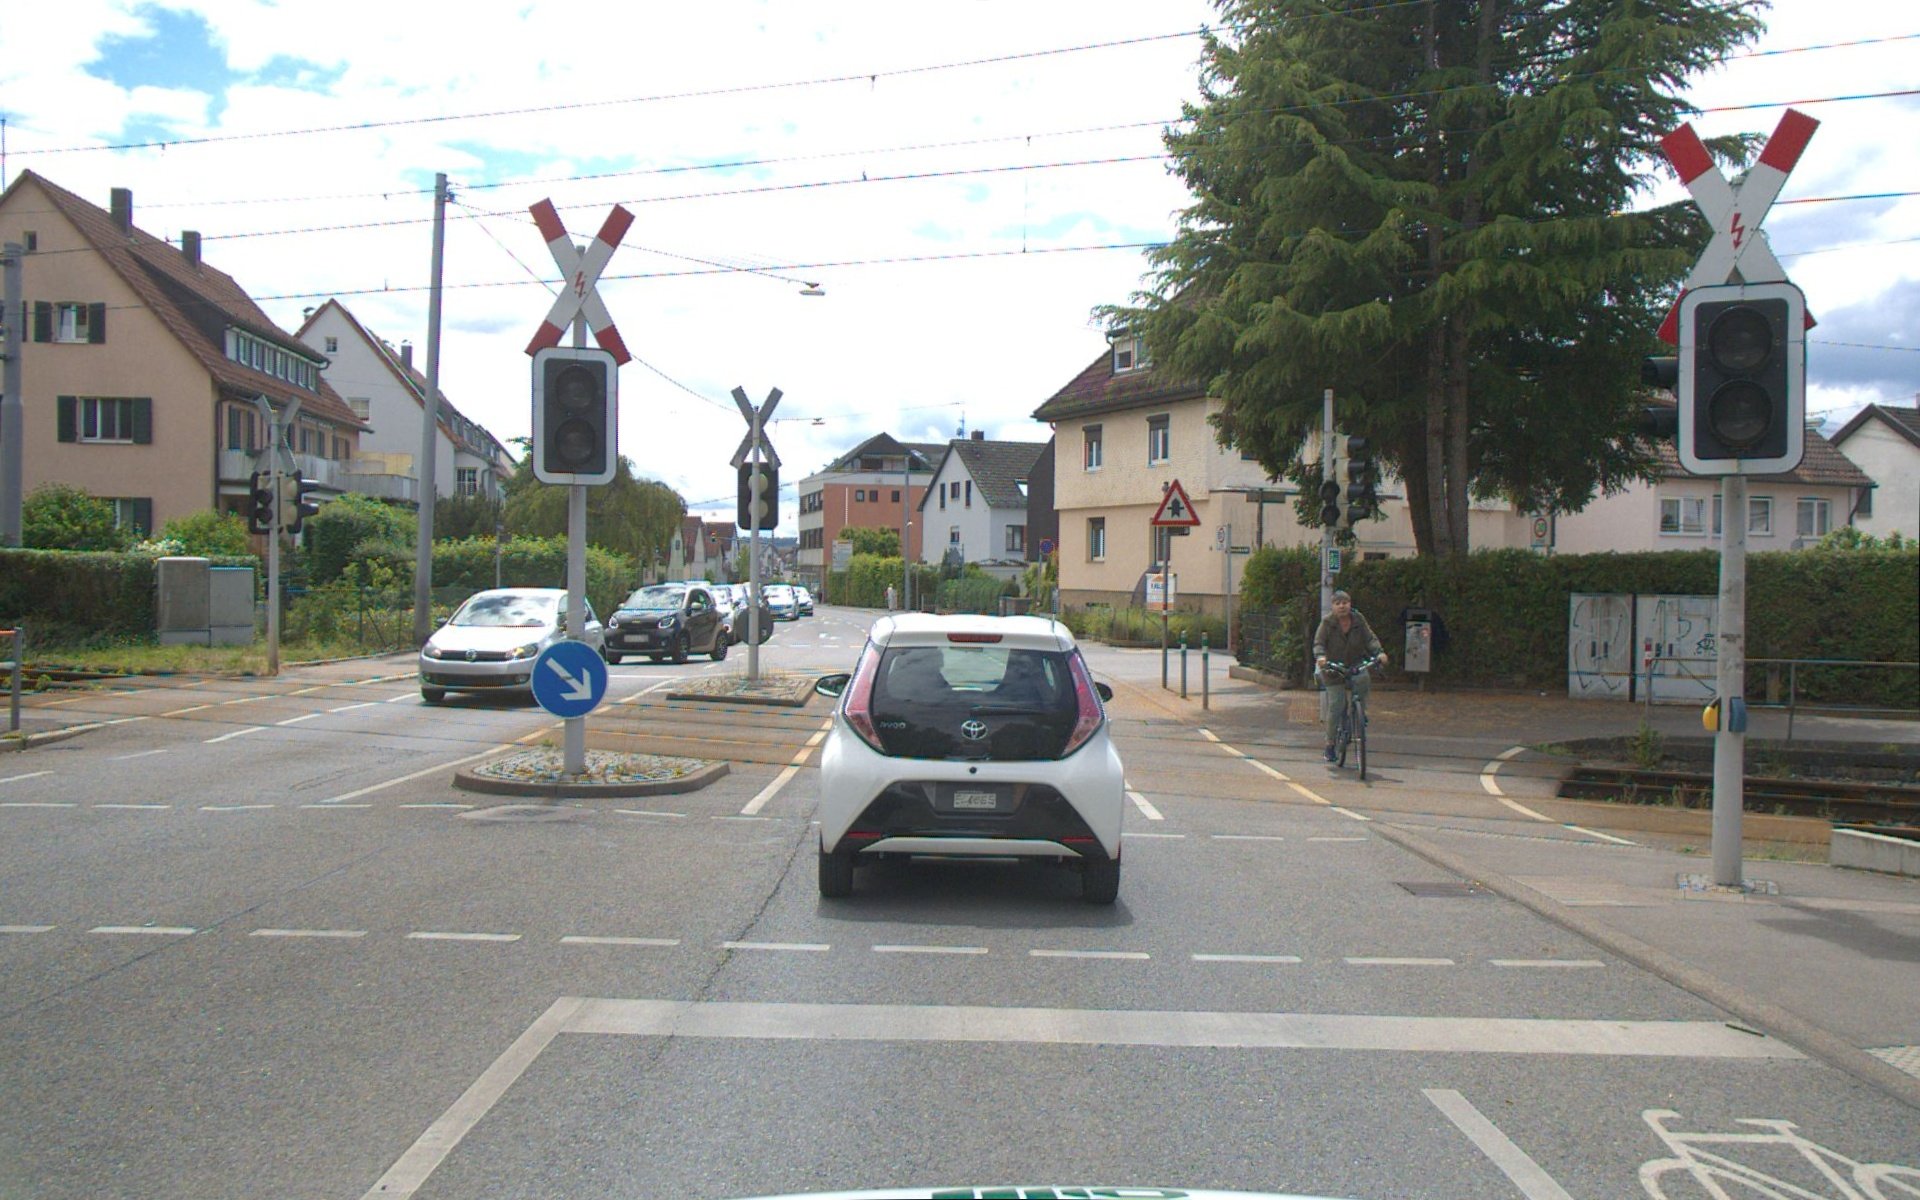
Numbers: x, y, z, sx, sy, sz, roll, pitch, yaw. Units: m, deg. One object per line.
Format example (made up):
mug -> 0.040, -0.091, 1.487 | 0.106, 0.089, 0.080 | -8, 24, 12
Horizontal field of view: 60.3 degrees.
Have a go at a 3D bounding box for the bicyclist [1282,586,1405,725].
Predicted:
bicyclist -> 3.685, 0.517, 15.969 | 0.913, 1.269, 1.102 | 1, 0, 0

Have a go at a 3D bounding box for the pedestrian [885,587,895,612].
pedestrian -> -4.187, -0.045, 99.480 | 0.433, 1.463, 0.409 | 1, 1, -35

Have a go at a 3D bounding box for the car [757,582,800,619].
car -> -8.074, 0.017, 73.410 | 1.742, 1.589, 4.162 | 1, 0, -8

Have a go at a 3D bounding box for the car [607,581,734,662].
car -> -5.803, 0.430, 33.385 | 1.541, 1.536, 2.790 | -1, -1, 13

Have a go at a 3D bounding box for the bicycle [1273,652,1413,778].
bicycle -> 3.669, 1.081, 16.018 | 0.913, 1.058, 1.915 | 1, 0, 0

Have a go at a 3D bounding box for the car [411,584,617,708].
car -> -6.078, 0.567, 22.986 | 1.653, 1.483, 4.071 | 1, 1, 1

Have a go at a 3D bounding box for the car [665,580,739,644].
car -> -6.959, 0.294, 44.858 | 1.741, 1.631, 4.034 | 1, 0, -6

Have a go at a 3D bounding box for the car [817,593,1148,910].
car -> 0.093, 0.755, 10.131 | 1.588, 1.512, 3.999 | 2, 0, -1

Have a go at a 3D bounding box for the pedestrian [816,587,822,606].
pedestrian -> -11.033, -0.277, 129.722 | 0.406, 1.463, 0.436 | 1, 0, -11

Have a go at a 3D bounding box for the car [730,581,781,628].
car -> -7.434, 0.151, 60.505 | 1.741, 1.631, 4.164 | 1, 0, -6

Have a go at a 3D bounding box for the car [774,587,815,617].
car -> -8.537, 0.094, 85.204 | 1.743, 1.455, 4.511 | 1, 0, -10
